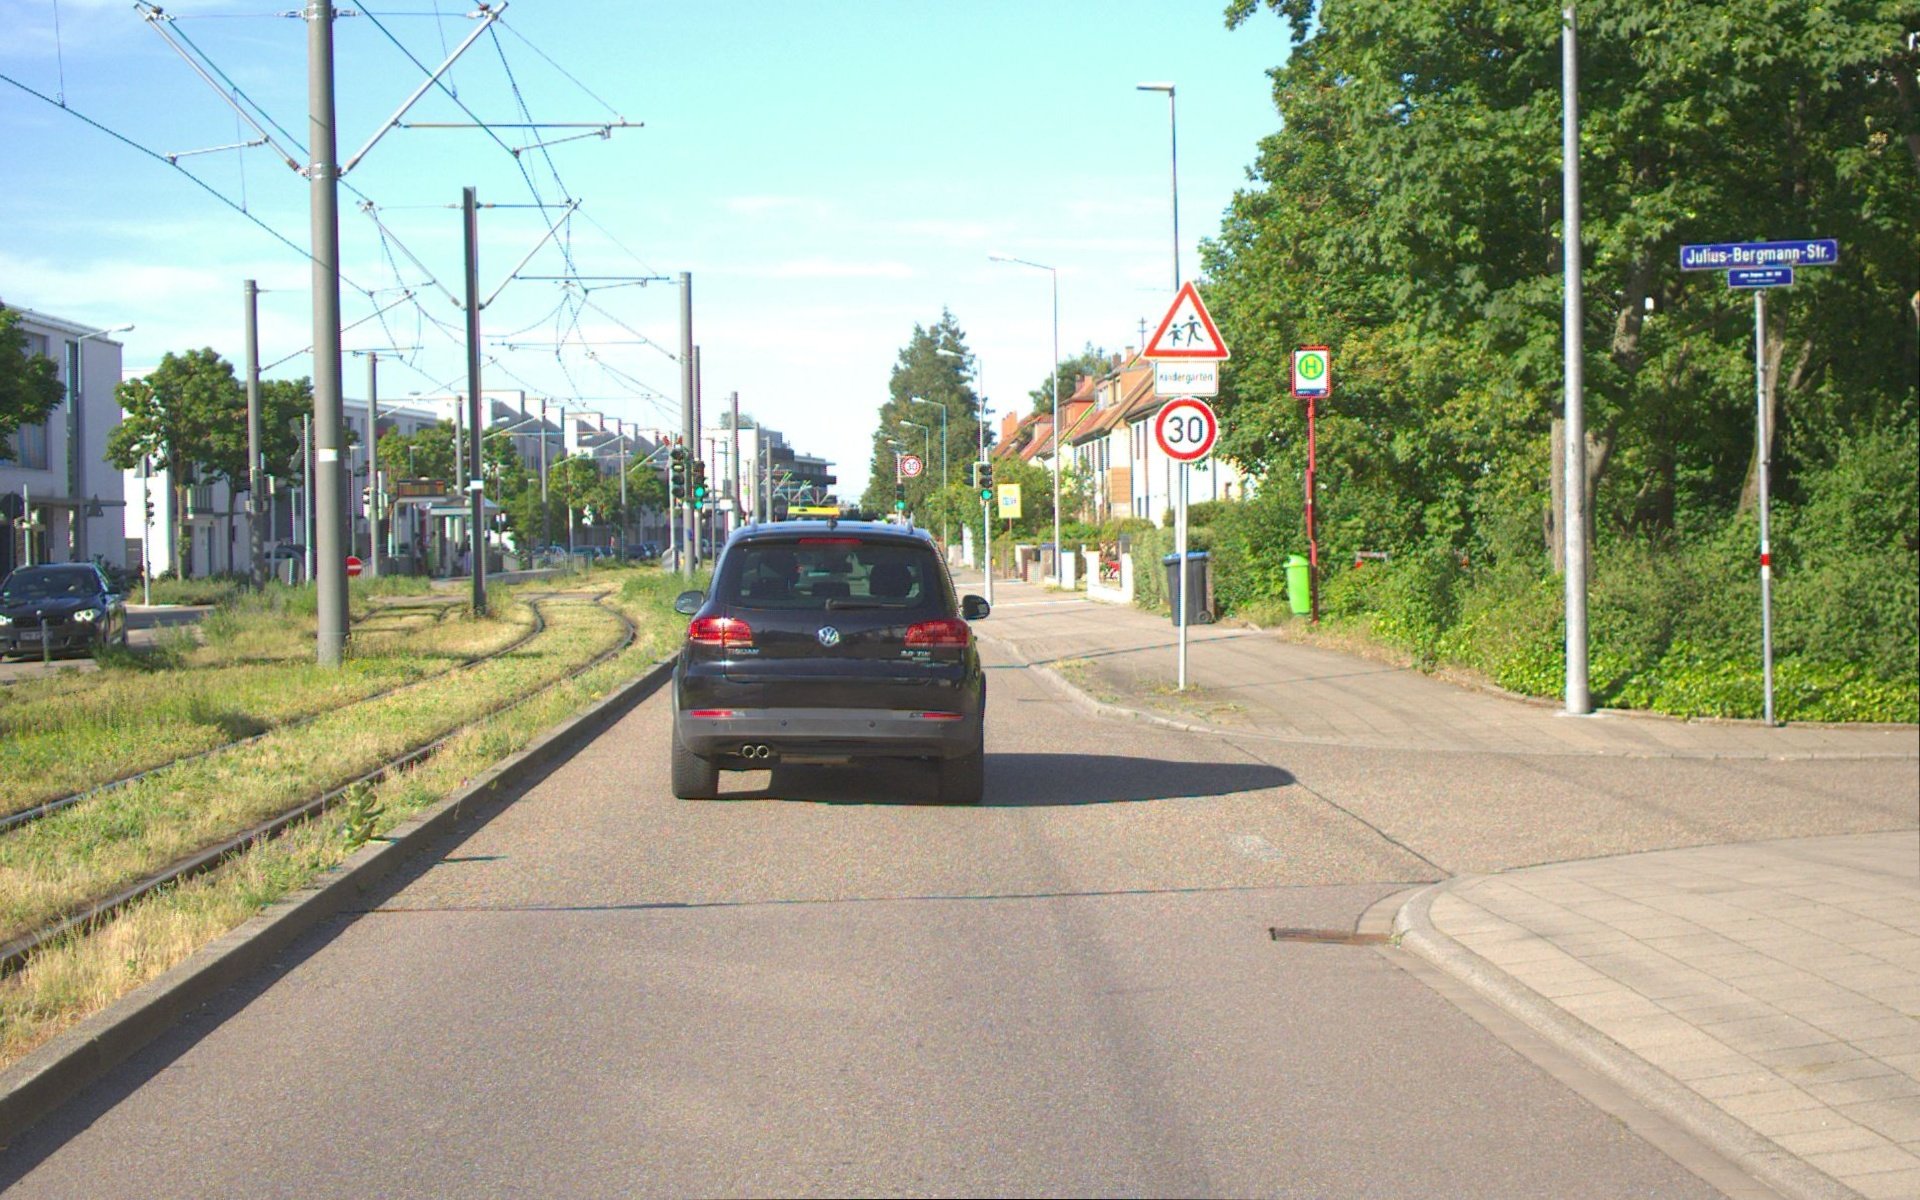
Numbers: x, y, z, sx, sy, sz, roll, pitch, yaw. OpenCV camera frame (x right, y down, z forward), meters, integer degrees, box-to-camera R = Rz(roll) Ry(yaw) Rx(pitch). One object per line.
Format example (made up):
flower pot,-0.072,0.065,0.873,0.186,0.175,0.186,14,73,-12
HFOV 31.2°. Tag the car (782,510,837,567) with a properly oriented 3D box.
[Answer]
car,-6.912,-2.829,158.178,2.394,2.556,5.530,-1,1,-1

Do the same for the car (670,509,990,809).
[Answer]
car,-0.863,0.313,21.317,1.775,1.664,4.001,1,0,-4

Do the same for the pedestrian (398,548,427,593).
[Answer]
pedestrian,-19.140,-1.033,120.081,0.881,1.581,0.628,-1,1,-20

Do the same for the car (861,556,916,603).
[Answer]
car,-2.620,-0.775,125.283,1.775,1.664,4.001,-1,1,-4

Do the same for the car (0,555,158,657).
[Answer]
car,-13.750,0.070,53.112,1.762,1.439,4.918,-2,1,-3
